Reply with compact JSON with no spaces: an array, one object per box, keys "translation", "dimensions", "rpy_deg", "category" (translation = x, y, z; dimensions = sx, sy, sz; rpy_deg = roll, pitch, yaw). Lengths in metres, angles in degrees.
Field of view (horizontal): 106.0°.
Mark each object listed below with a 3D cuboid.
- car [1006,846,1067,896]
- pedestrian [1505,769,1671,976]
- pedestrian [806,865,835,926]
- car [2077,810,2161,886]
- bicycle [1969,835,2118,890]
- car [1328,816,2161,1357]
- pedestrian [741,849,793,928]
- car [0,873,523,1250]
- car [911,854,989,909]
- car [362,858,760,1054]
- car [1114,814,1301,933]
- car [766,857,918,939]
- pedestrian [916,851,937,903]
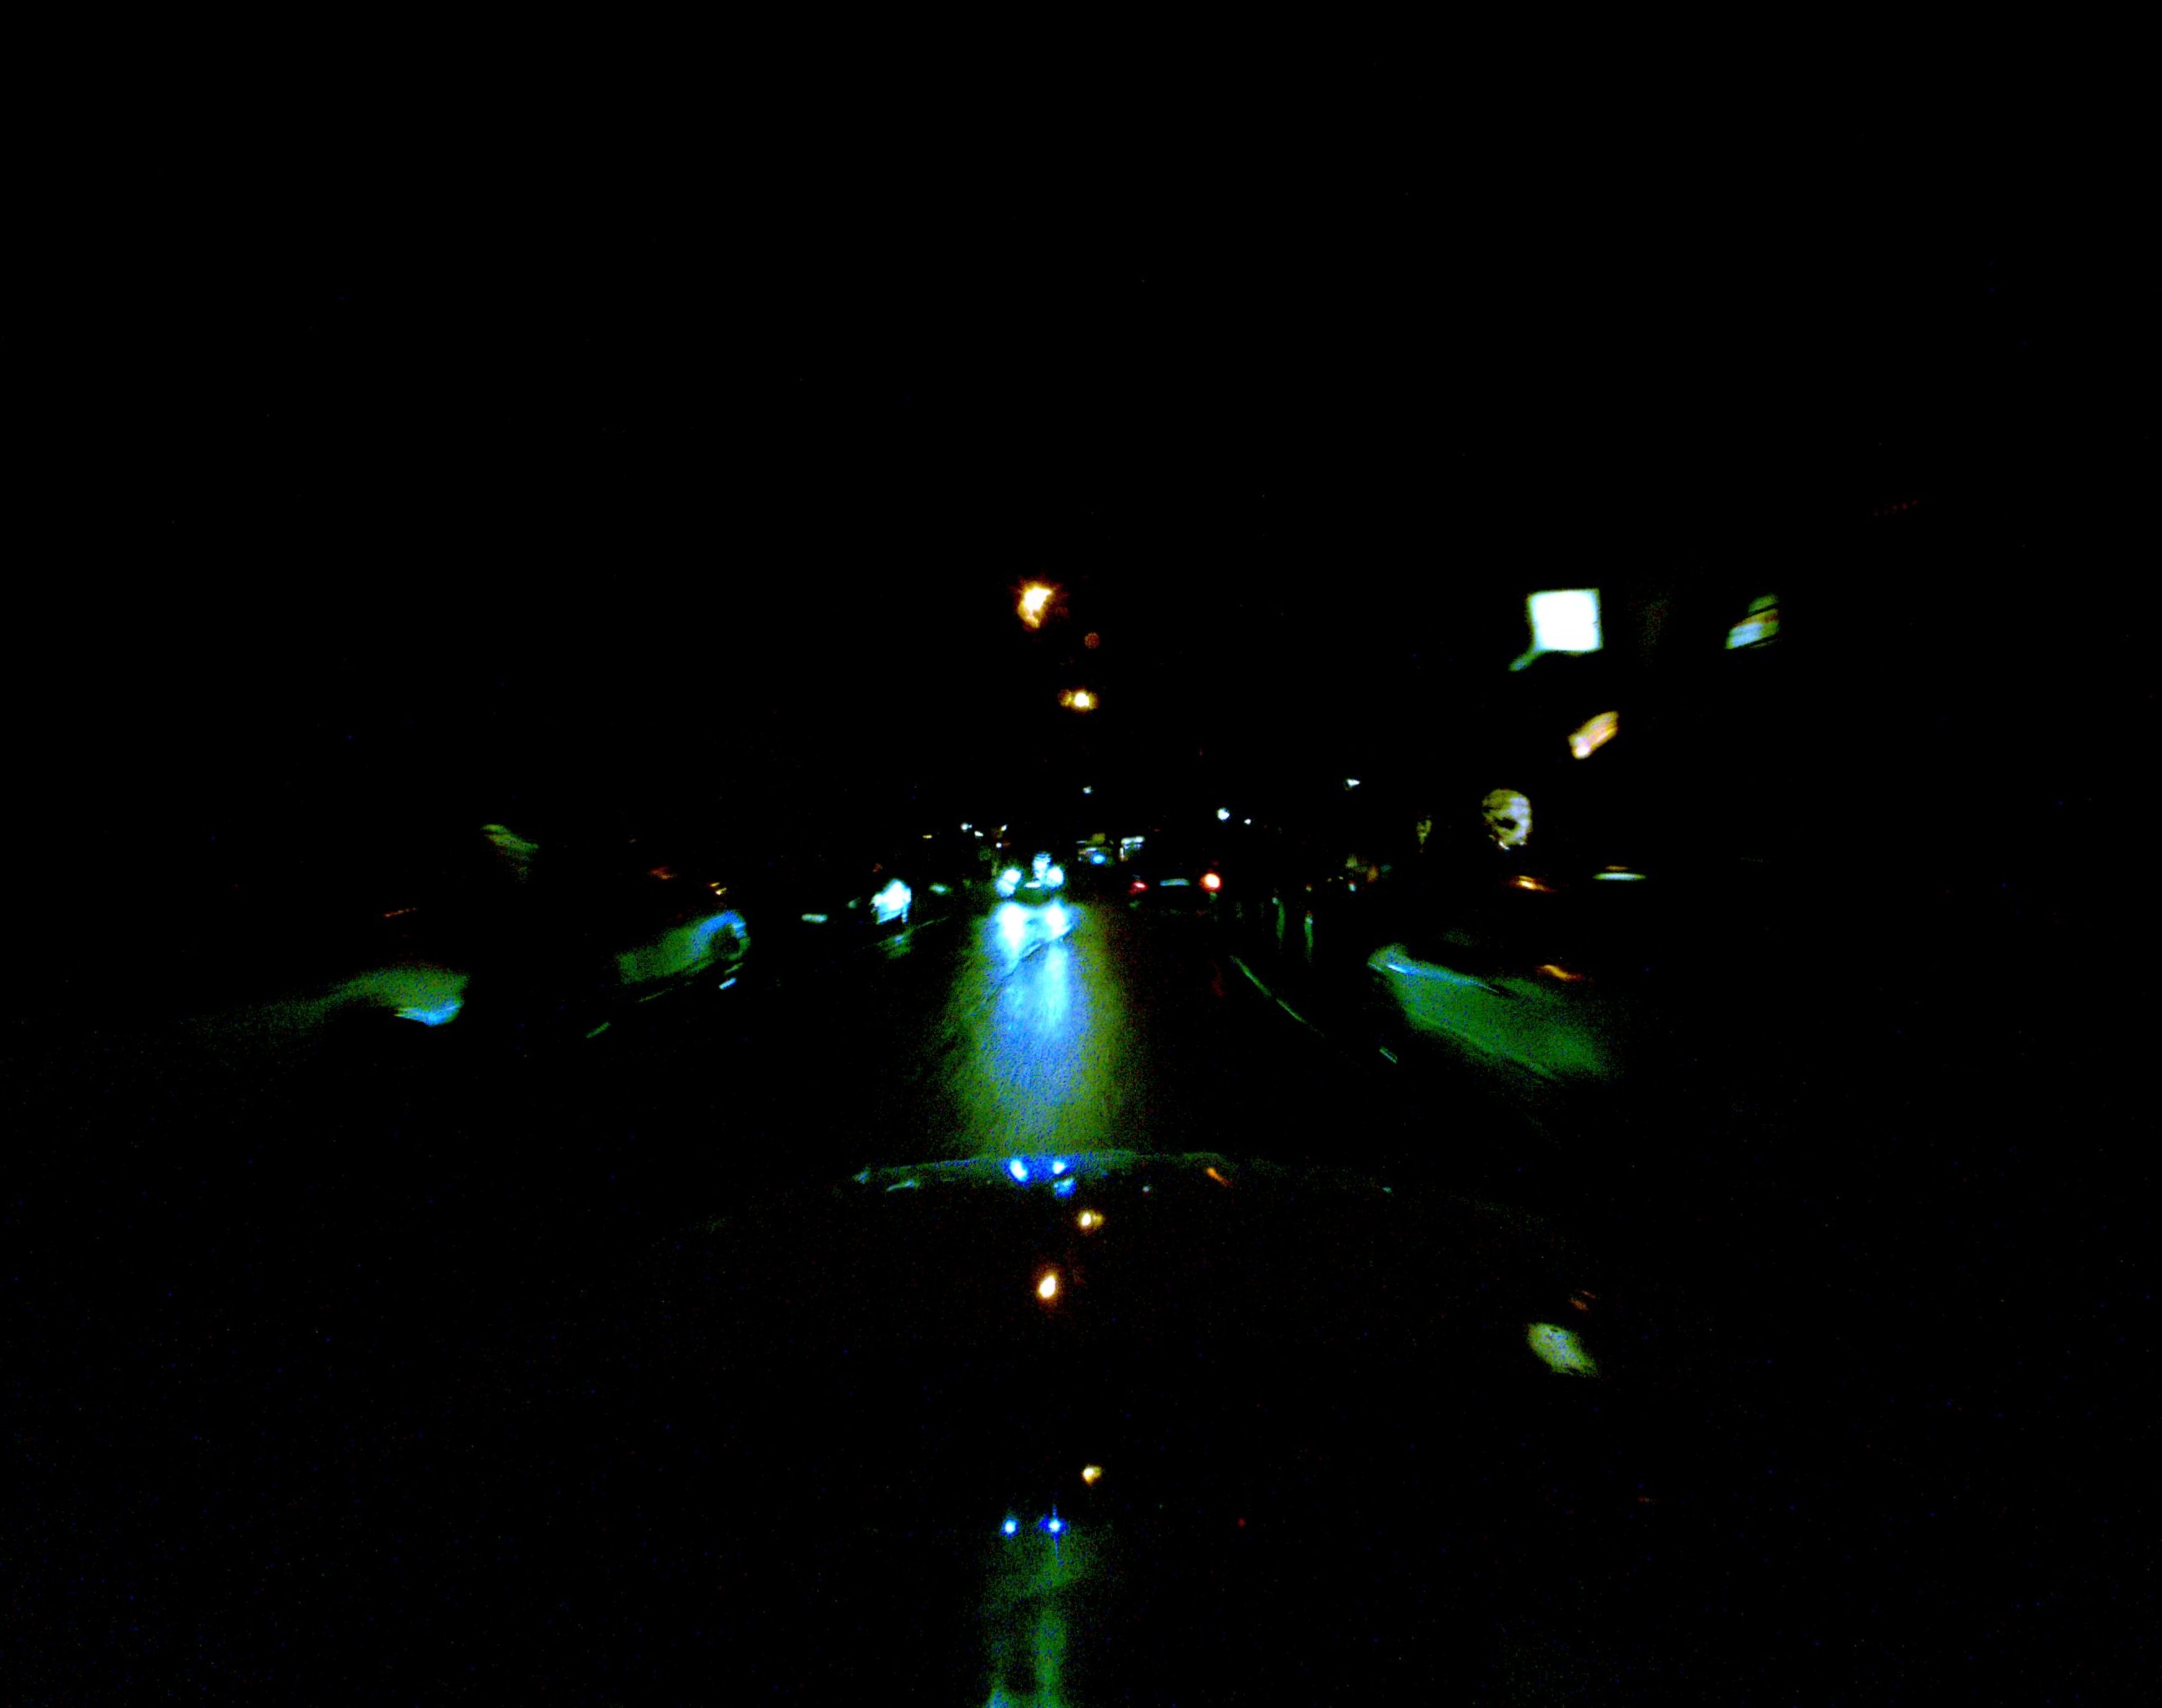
[{"translation":[-1.585,0.586,30.767],"dimensions":[1.914,1.618,4.574],"rpy_deg":[-4,0,0],"category":"car"},{"translation":[4.784,0.157,7.778],"dimensions":[0.858,1.788,1.084],"rpy_deg":[-4,1,5],"category":"pedestrian"},{"translation":[-6.690,1.050,20.944],"dimensions":[0.657,1.552,0.759],"rpy_deg":[0,-1,-13],"category":"pedestrian"},{"translation":[22.420,-0.171,16.081],"dimensions":[3.391,1.458,1.611],"rpy_deg":[-2,0,2],"category":"car"},{"translation":[18.681,0.164,15.882],"dimensions":[0.697,1.010,1.987],"rpy_deg":[0,-1,6],"category":"bicycle"},{"translation":[2.839,0.619,4.219],"dimensions":[1.911,1.412,4.000],"rpy_deg":[-3,0,1],"category":"car"},{"translation":[-7.316,0.785,19.012],"dimensions":[0.739,1.804,0.988],"rpy_deg":[0,-1,5],"category":"pedestrian"},{"translation":[-5.352,0.920,4.207],"dimensions":[1.826,1.481,4.308],"rpy_deg":[-2,0,2],"category":"car"},{"translation":[-4.531,0.894,28.769],"dimensions":[1.826,1.717,4.596],"rpy_deg":[-2,0,2],"category":"car"},{"translation":[-5.154,0.871,8.784],"dimensions":[1.739,1.588,3.767],"rpy_deg":[-2,0,2],"category":"car"},{"translation":[2.739,0.312,16.540],"dimensions":[1.976,2.049,4.724],"rpy_deg":[-2,0,32],"category":"car"},{"translation":[-5.045,0.858,17.934],"dimensions":[1.826,1.486,4.596],"rpy_deg":[-2,0,2],"category":"car"},{"translation":[-5.985,0.891,31.495],"dimensions":[0.654,1.974,0.770],"rpy_deg":[0,-1,0],"category":"pedestrian"}]
